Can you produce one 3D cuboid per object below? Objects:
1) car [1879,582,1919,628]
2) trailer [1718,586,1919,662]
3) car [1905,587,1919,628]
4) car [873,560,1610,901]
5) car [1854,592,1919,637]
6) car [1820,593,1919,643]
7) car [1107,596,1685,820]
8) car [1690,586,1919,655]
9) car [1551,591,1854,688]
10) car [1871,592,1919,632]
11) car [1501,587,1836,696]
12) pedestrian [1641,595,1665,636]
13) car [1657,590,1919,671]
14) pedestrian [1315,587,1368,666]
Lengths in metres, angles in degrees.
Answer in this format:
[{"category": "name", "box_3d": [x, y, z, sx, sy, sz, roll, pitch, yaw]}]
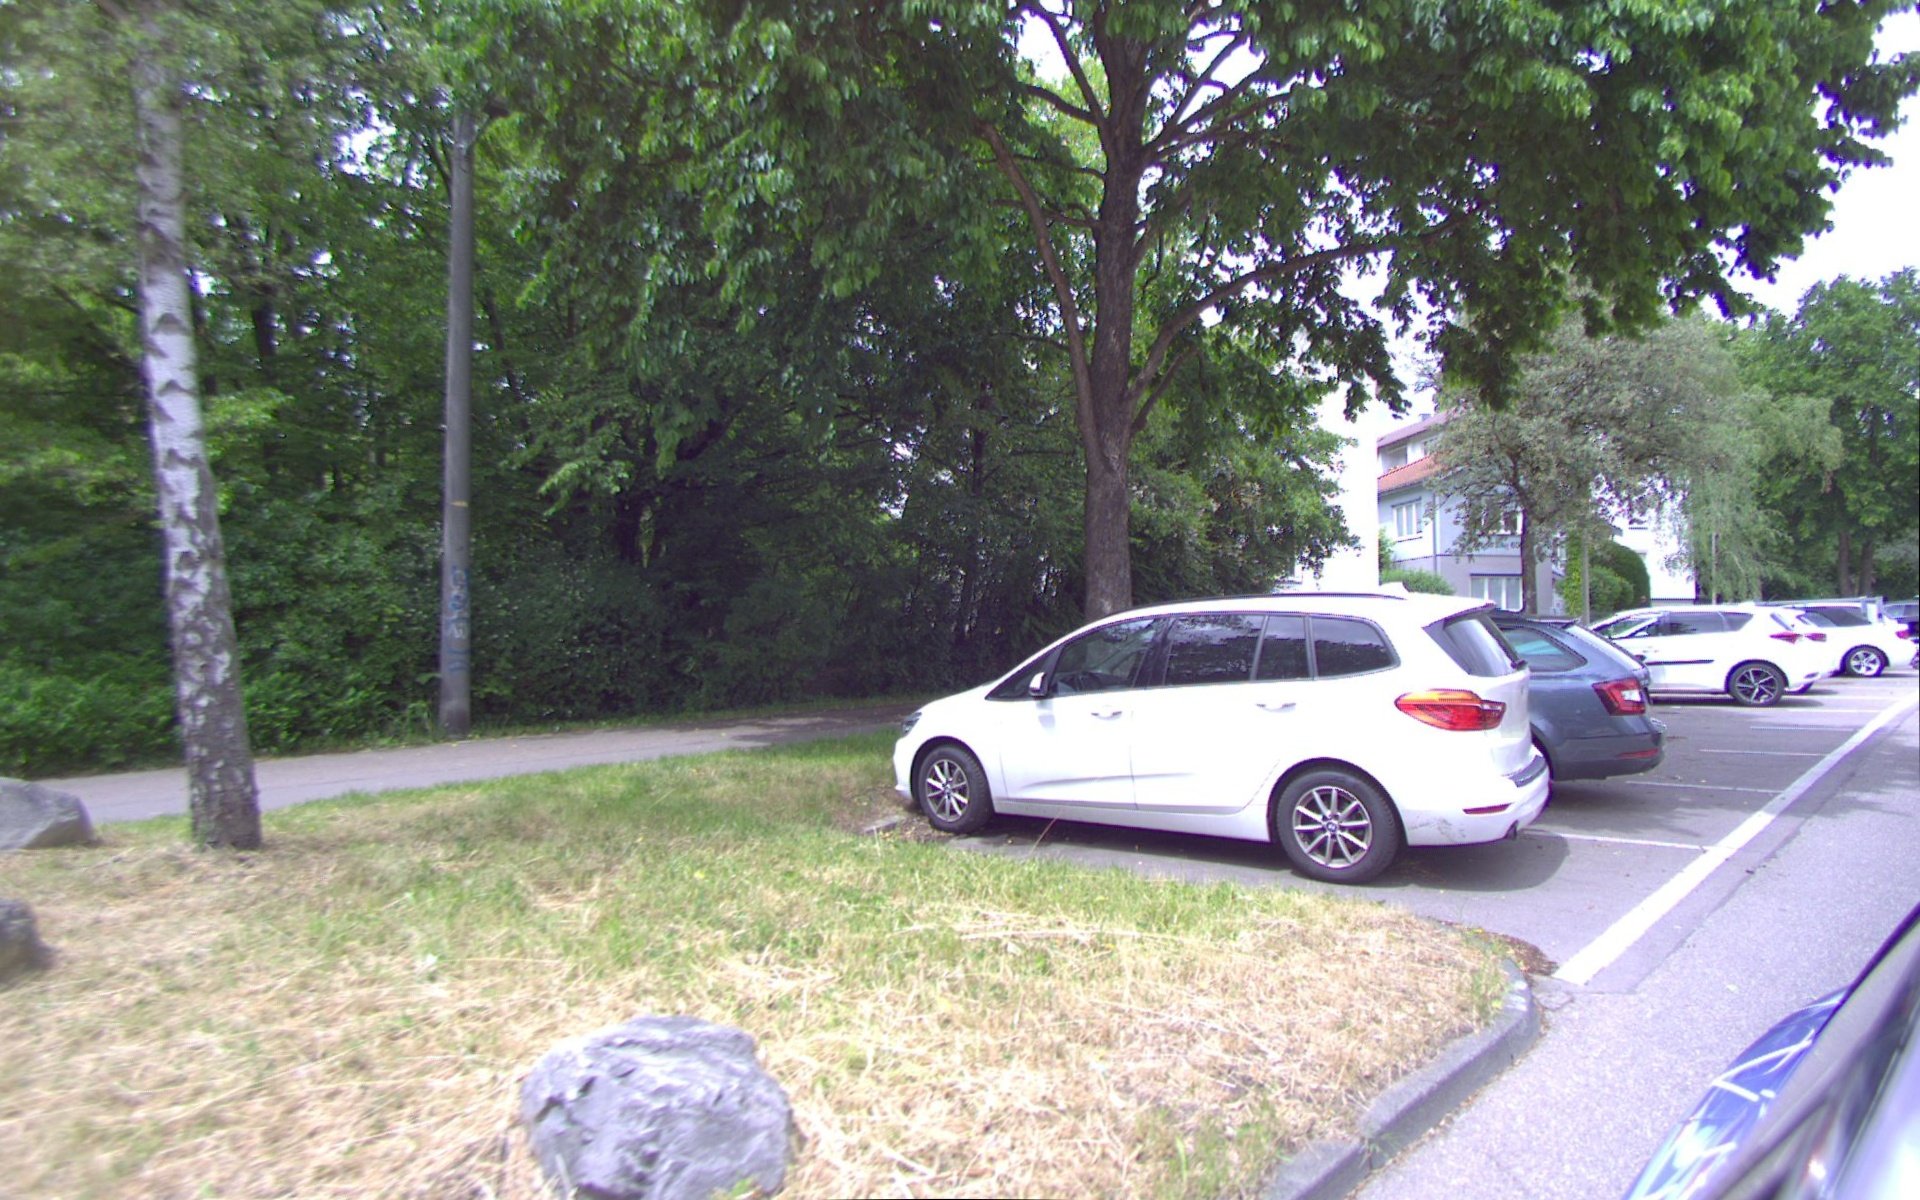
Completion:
[{"category": "car", "box_3d": [39.237, 0.149, 39.761, 4.181, 1.781, 1.841, -3, -1, 28]}, {"category": "trailer", "box_3d": [19.300, 0.513, 22.319, 3.971, 1.572, 1.639, -1, -1, 34]}, {"category": "car", "box_3d": [41.617, 0.234, 41.571, 3.835, 1.664, 1.828, -3, -2, 38]}, {"category": "car", "box_3d": [1.670, 0.690, 6.931, 4.460, 1.606, 1.880, -3, -2, 40]}, {"category": "car", "box_3d": [32.984, 0.455, 34.475, 3.485, 1.483, 1.696, -3, -1, 32]}, {"category": "car", "box_3d": [29.097, 0.523, 30.998, 3.818, 1.452, 1.700, -3, -1, 27]}, {"category": "car", "box_3d": [3.514, 0.790, 8.585, 4.115, 1.483, 1.777, -3, -1, 33]}, {"category": "car", "box_3d": [20.179, 0.502, 24.333, 3.961, 1.483, 1.774, -3, -1, 28]}, {"category": "car", "box_3d": [12.587, 0.682, 17.438, 3.974, 1.483, 1.773, -3, -1, 36]}, {"category": "car", "box_3d": [36.762, 0.412, 37.804, 3.835, 1.457, 1.692, -3, -2, 38]}, {"category": "car", "box_3d": [10.696, 0.642, 15.646, 3.968, 1.483, 1.845, -3, -1, 32]}, {"category": "pedestrian", "box_3d": [25.926, 0.582, 37.869, 0.688, 1.523, 0.769, -2, -1, 32]}, {"category": "car", "box_3d": [16.881, 0.636, 20.700, 3.956, 1.483, 1.835, -3, -1, 25]}, {"category": "pedestrian", "box_3d": [8.188, 0.562, 21.746, 0.762, 1.665, 0.695, -1, -1, -20]}]
